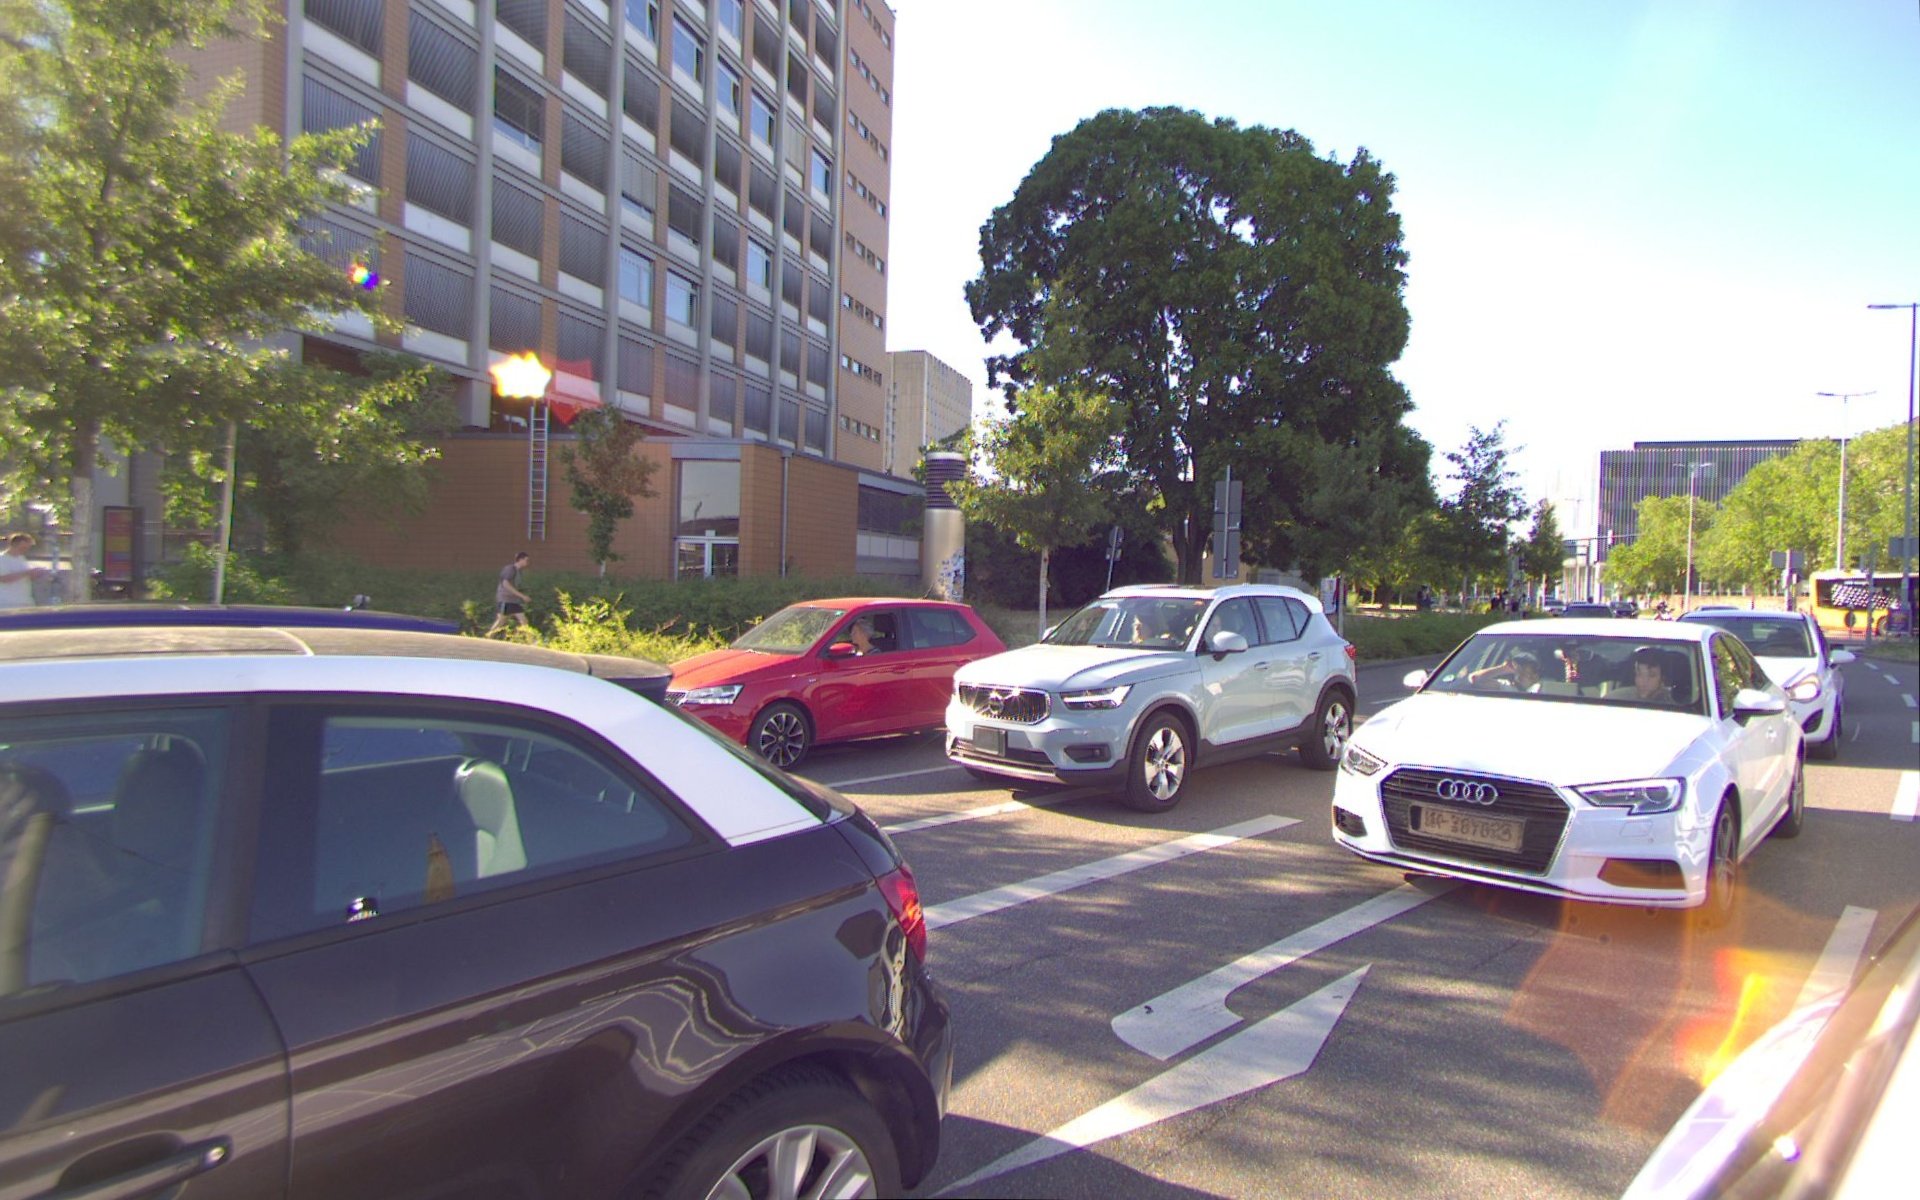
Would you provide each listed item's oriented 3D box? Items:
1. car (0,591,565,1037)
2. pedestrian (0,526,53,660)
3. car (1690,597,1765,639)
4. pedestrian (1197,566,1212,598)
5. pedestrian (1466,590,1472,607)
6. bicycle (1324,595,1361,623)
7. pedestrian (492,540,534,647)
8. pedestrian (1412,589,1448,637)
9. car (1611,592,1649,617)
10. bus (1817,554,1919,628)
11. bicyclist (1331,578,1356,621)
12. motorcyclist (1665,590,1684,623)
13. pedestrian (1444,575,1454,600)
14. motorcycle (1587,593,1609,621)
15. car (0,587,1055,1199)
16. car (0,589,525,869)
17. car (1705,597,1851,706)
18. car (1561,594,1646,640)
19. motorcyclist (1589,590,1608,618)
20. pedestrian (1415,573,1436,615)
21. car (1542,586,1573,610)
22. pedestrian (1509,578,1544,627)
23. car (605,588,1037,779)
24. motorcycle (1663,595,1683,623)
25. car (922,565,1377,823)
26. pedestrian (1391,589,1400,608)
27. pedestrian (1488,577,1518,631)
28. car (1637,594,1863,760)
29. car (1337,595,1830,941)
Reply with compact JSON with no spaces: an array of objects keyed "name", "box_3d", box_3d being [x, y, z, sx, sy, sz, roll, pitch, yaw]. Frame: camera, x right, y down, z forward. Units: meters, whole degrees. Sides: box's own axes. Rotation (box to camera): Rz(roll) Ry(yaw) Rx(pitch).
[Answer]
[{"name":"car","box_3d":[-3.736,0.688,3.752,3.930,1.422,1.626,-1,0,-41]},{"name":"pedestrian","box_3d":[-12.030,-0.110,12.978,0.592,1.660,0.678,0,4,-43]},{"name":"car","box_3d":[29.833,0.658,39.450,1.741,1.478,4.146,0,0,29]},{"name":"pedestrian","box_3d":[16.197,-1.188,67.069,0.917,2.039,0.750,0,0,22]},{"name":"pedestrian","box_3d":[51.483,-0.115,102.367,0.475,1.706,0.399,1,1,-41]},{"name":"bicycle","box_3d":[14.486,0.337,38.279,0.657,0.975,2.005,2,2,41]},{"name":"pedestrian","box_3d":[-8.139,-0.125,18.426,0.681,1.910,0.465,0,0,-24]},{"name":"pedestrian","box_3d":[17.270,0.458,37.172,1.005,1.742,0.873,0,0,39]},{"name":"car","box_3d":[45.253,0.258,68.392,1.731,1.564,3.960,2,1,29]},{"name":"bus","box_3d":[44.359,-0.390,43.162,3.022,3.252,12.570,0,1,-13]},{"name":"bicyclist","box_3d":[14.508,-0.031,38.267,0.615,1.580,0.858,0,0,41]},{"name":"motorcyclist","box_3d":[34.950,0.330,49.527,0.706,1.610,0.682,0,0,32]},{"name":"pedestrian","box_3d":[32.239,-0.800,66.733,0.543,1.627,0.598,0,0,30]},{"name":"motorcycle","box_3d":[30.871,0.314,48.950,0.714,1.321,2.205,0,0,37]},{"name":"car","box_3d":[-1.805,0.699,1.507,3.930,1.422,1.626,-1,0,-41]},{"name":"car","box_3d":[-5.185,0.652,6.075,4.434,1.422,1.725,-1,1,-42]},{"name":"car","box_3d":[13.112,0.713,16.133,1.622,1.478,3.981,0,1,42]},{"name":"car","box_3d":[22.318,0.552,35.064,1.750,1.478,4.123,0,1,43]},{"name":"motorcyclist","box_3d":[30.882,0.182,48.960,0.714,1.321,0.725,0,0,38]},{"name":"pedestrian","box_3d":[17.918,-0.227,38.921,0.593,1.615,0.586,0,0,41]},{"name":"car","box_3d":[45.681,-0.181,77.382,1.730,1.727,3.962,2,1,27]},{"name":"pedestrian","box_3d":[24.300,0.095,43.407,1.137,2.039,1.268,0,0,39]},{"name":"car","box_3d":[-1.191,0.632,9.855,3.974,1.478,1.625,-1,0,-43]},{"name":"motorcycle","box_3d":[35.021,0.419,49.726,0.713,1.321,2.208,0,0,33]},{"name":"car","box_3d":[1.775,0.572,8.470,4.153,1.641,1.625,-1,0,-43]},{"name":"pedestrian","box_3d":[48.118,-0.155,111.902,0.828,2.039,1.061,0,0,19]},{"name":"pedestrian","box_3d":[21.015,0.153,39.146,0.891,2.039,0.870,0,0,39]},{"name":"car","box_3d":[8.874,0.691,11.237,1.623,1.478,3.979,0,1,43]},{"name":"car","box_3d":[3.947,0.693,6.131,3.769,1.422,1.625,-1,1,-43]}]
